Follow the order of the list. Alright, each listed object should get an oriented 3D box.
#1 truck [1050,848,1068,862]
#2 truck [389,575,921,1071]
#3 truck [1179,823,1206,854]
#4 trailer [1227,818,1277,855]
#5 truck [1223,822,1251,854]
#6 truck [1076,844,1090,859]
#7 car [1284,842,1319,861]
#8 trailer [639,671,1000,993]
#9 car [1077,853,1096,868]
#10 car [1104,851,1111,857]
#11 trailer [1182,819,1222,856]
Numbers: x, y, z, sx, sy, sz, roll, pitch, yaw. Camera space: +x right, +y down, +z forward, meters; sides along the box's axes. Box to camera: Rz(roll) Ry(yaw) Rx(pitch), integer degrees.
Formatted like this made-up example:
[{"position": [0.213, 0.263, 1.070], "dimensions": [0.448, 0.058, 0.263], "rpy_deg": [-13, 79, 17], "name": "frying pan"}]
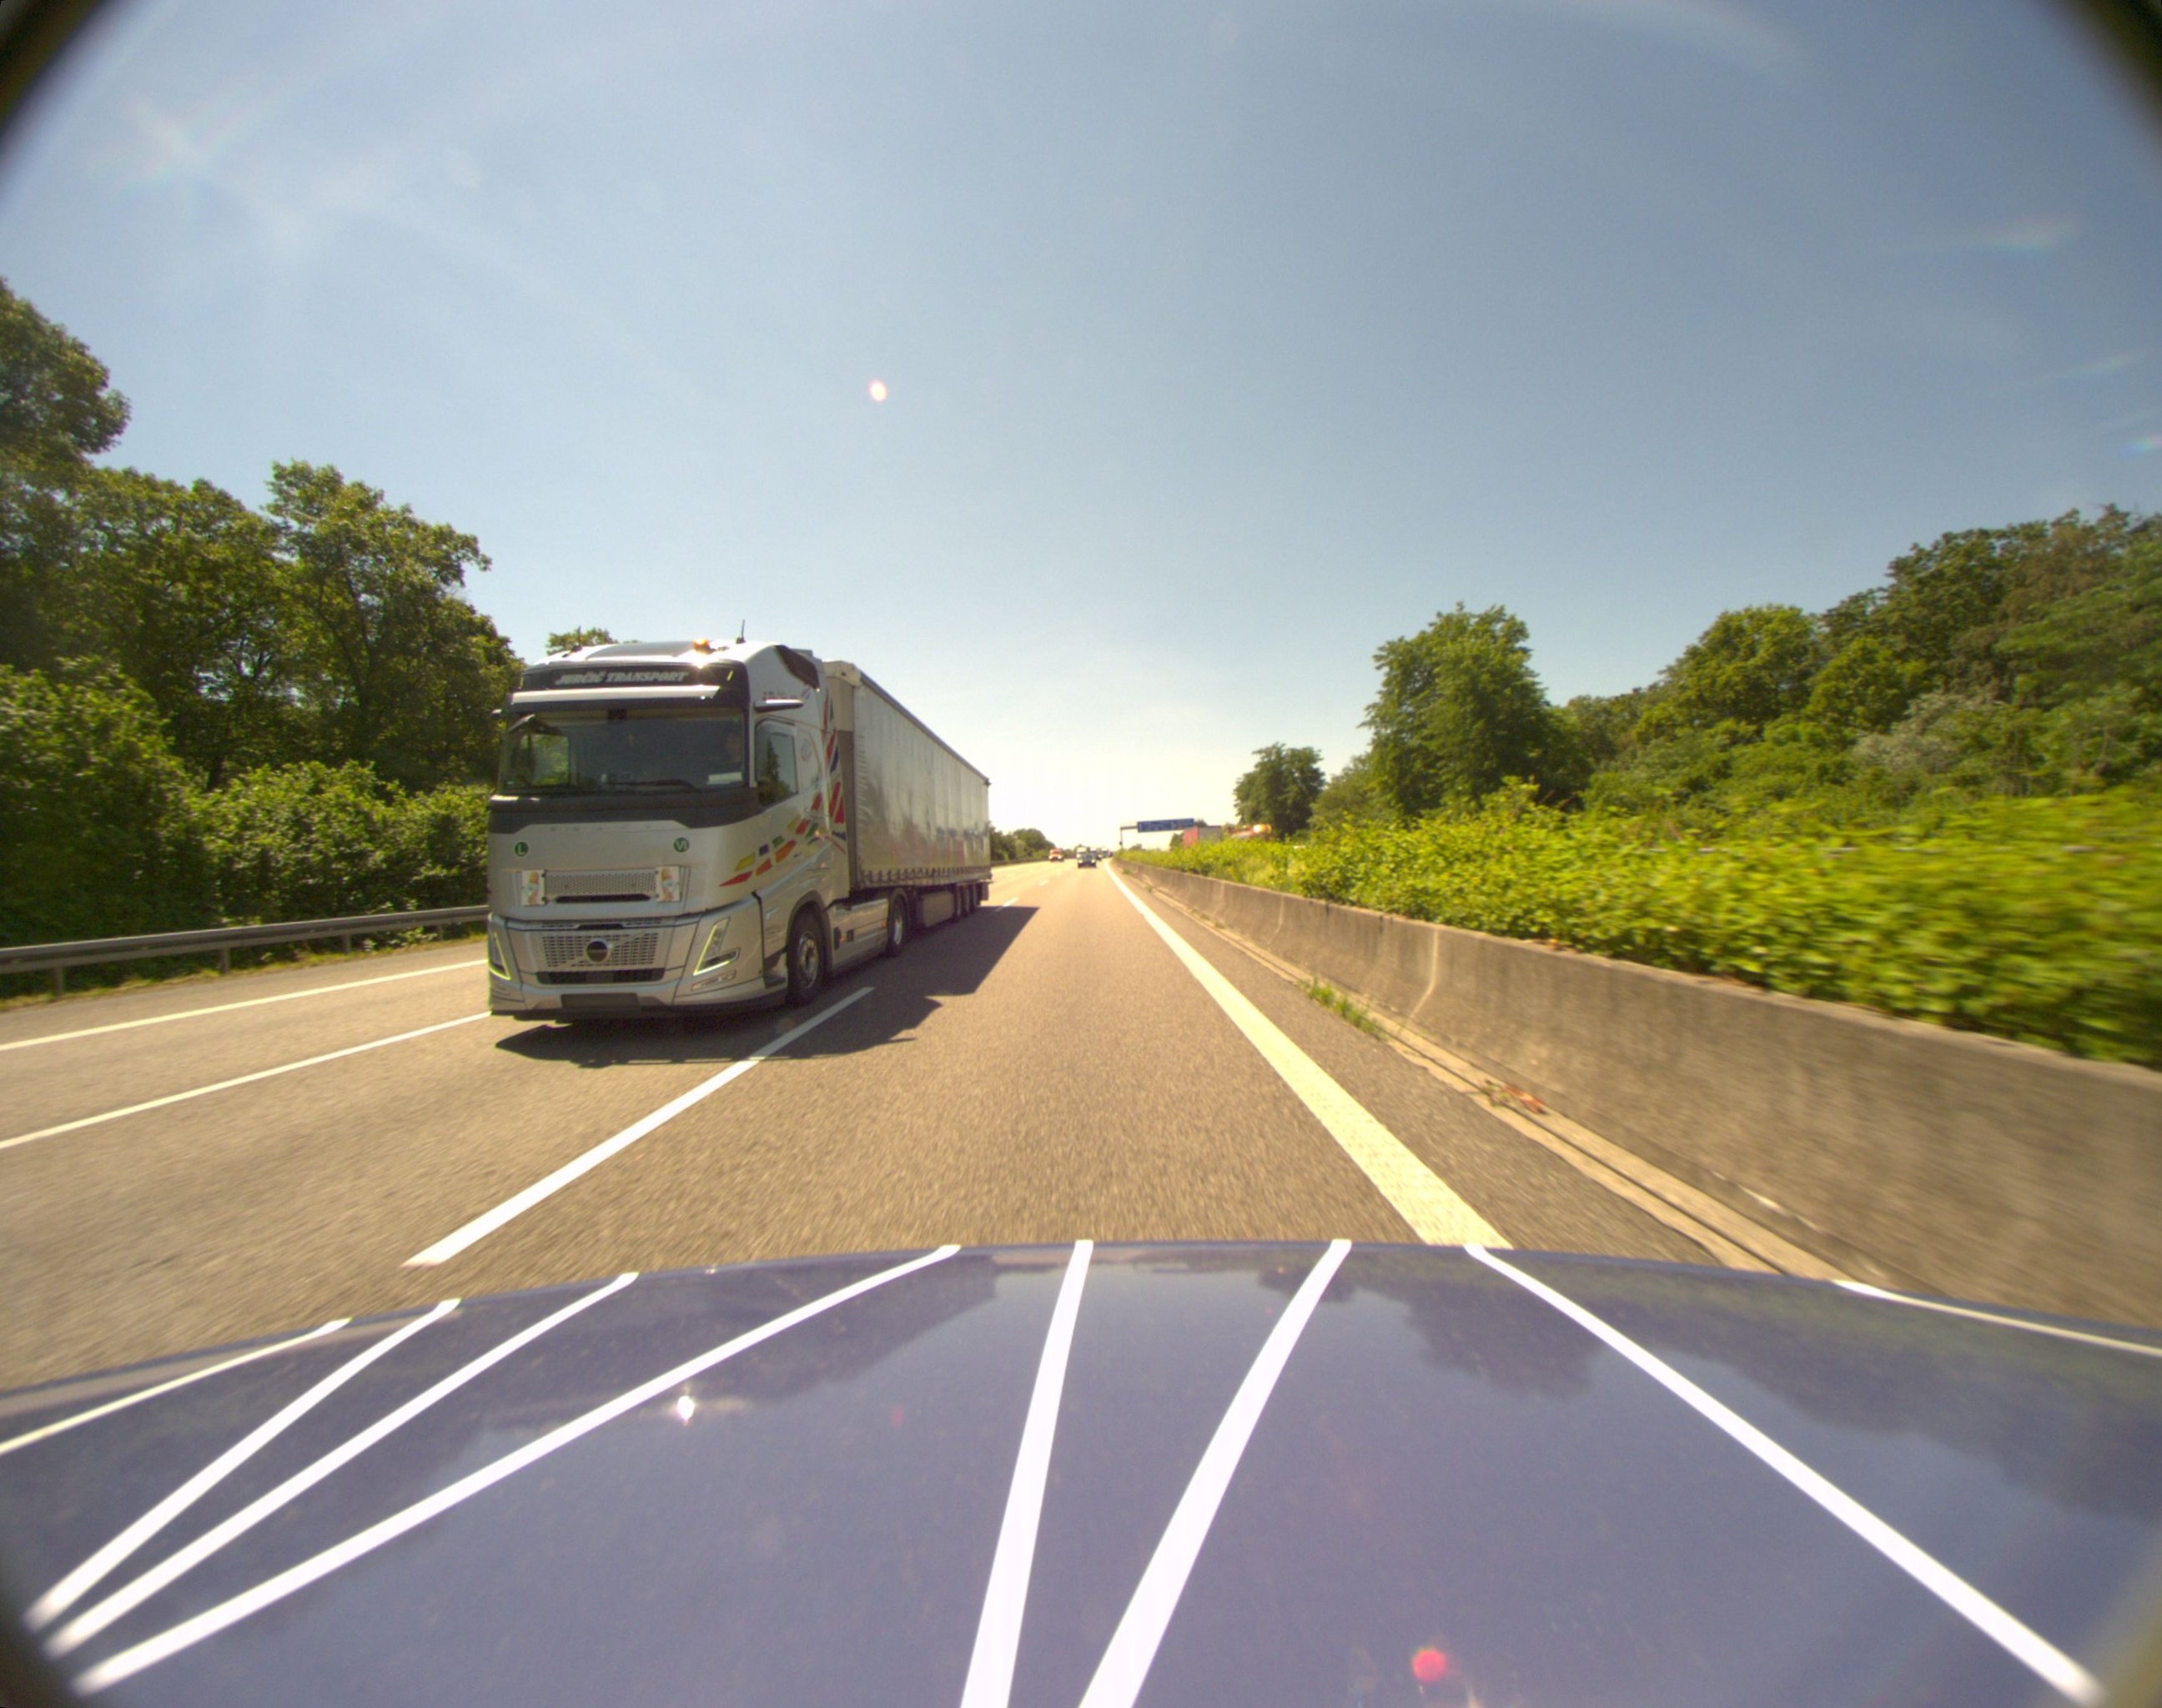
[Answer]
[{"position": [-4.181, 0.103, 144.004], "dimensions": [2.436, 2.426, 10.011], "rpy_deg": [-2, 0, 4], "name": "truck"}, {"position": [-4.156, -0.262, 9.460], "dimensions": [2.729, 3.952, 6.501], "rpy_deg": [-2, 1, 1], "name": "truck"}, {"position": [14.280, -1.973, 97.448], "dimensions": [2.471, 3.766, 5.728], "rpy_deg": [-2, 1, 0], "name": "truck"}, {"position": [18.403, -1.784, 82.728], "dimensions": [2.377, 3.575, 14.219], "rpy_deg": [-2, 0, 1], "name": "trailer"}, {"position": [18.463, -1.833, 89.872], "dimensions": [2.363, 3.581, 4.163], "rpy_deg": [-2, 1, 0], "name": "truck"}, {"position": [0.426, -0.587, 169.432], "dimensions": [2.859, 3.163, 10.711], "rpy_deg": [-2, 0, 1], "name": "truck"}, {"position": [18.373, -0.204, 63.530], "dimensions": [1.725, 1.471, 4.000], "rpy_deg": [-2, 0, 1], "name": "car"}, {"position": [-4.029, -0.314, 16.411], "dimensions": [2.747, 3.952, 13.653], "rpy_deg": [-2, 0, 1], "name": "trailer"}, {"position": [0.544, 0.677, 78.643], "dimensions": [1.800, 1.390, 4.832], "rpy_deg": [-2, 0, 0], "name": "car"}, {"position": [7.191, -0.025, 206.518], "dimensions": [1.879, 1.630, 4.000], "rpy_deg": [-2, 0, 1], "name": "car"}, {"position": [14.208, -1.863, 90.477], "dimensions": [2.472, 3.913, 14.399], "rpy_deg": [-2, 0, 1], "name": "trailer"}]
